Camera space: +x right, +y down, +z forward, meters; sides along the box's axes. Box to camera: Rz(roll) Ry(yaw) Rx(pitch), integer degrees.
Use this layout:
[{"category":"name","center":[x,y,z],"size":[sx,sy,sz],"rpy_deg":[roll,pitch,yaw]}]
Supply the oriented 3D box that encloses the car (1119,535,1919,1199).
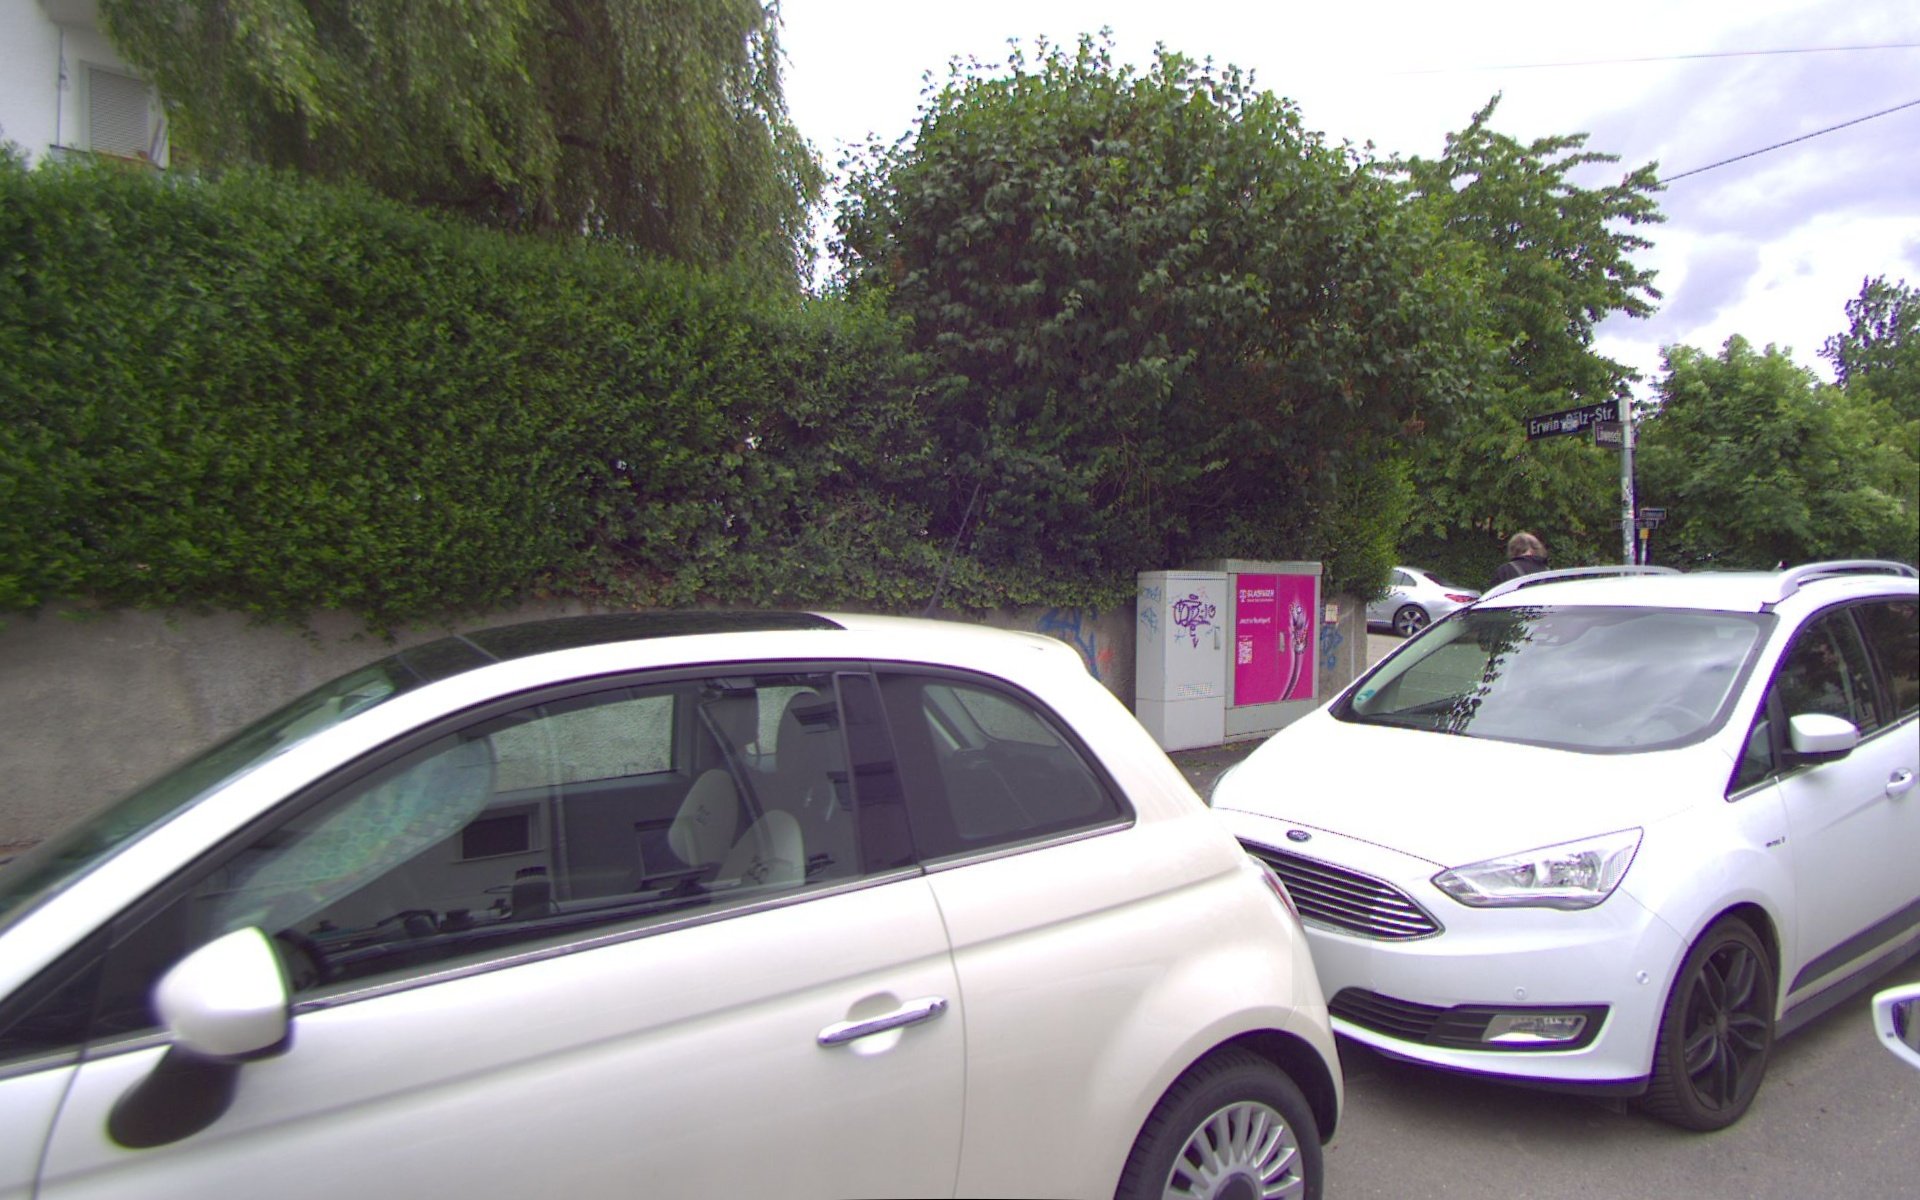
[{"category":"car","center":[2.828,0.664,4.212],"size":[4.102,1.681,1.795],"rpy_deg":[-1,1,-31]}]

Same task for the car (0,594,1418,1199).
[{"category":"car","center":[-0.890,0.759,2.073],"size":[3.571,1.472,1.599],"rpy_deg":[1,-2,-31]}]

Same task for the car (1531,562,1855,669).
[{"category":"car","center":[13.477,0.219,18.784],"size":[4.423,1.678,1.835],"rpy_deg":[3,3,13]}]

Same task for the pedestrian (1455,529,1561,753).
[{"category":"pedestrian","center":[4.612,0.310,8.513],"size":[0.631,1.784,0.822],"rpy_deg":[3,3,23]}]

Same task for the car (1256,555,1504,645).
[{"category":"car","center":[8.857,-0.079,21.446],"size":[4.451,1.457,1.823],"rpy_deg":[7,6,44]}]
